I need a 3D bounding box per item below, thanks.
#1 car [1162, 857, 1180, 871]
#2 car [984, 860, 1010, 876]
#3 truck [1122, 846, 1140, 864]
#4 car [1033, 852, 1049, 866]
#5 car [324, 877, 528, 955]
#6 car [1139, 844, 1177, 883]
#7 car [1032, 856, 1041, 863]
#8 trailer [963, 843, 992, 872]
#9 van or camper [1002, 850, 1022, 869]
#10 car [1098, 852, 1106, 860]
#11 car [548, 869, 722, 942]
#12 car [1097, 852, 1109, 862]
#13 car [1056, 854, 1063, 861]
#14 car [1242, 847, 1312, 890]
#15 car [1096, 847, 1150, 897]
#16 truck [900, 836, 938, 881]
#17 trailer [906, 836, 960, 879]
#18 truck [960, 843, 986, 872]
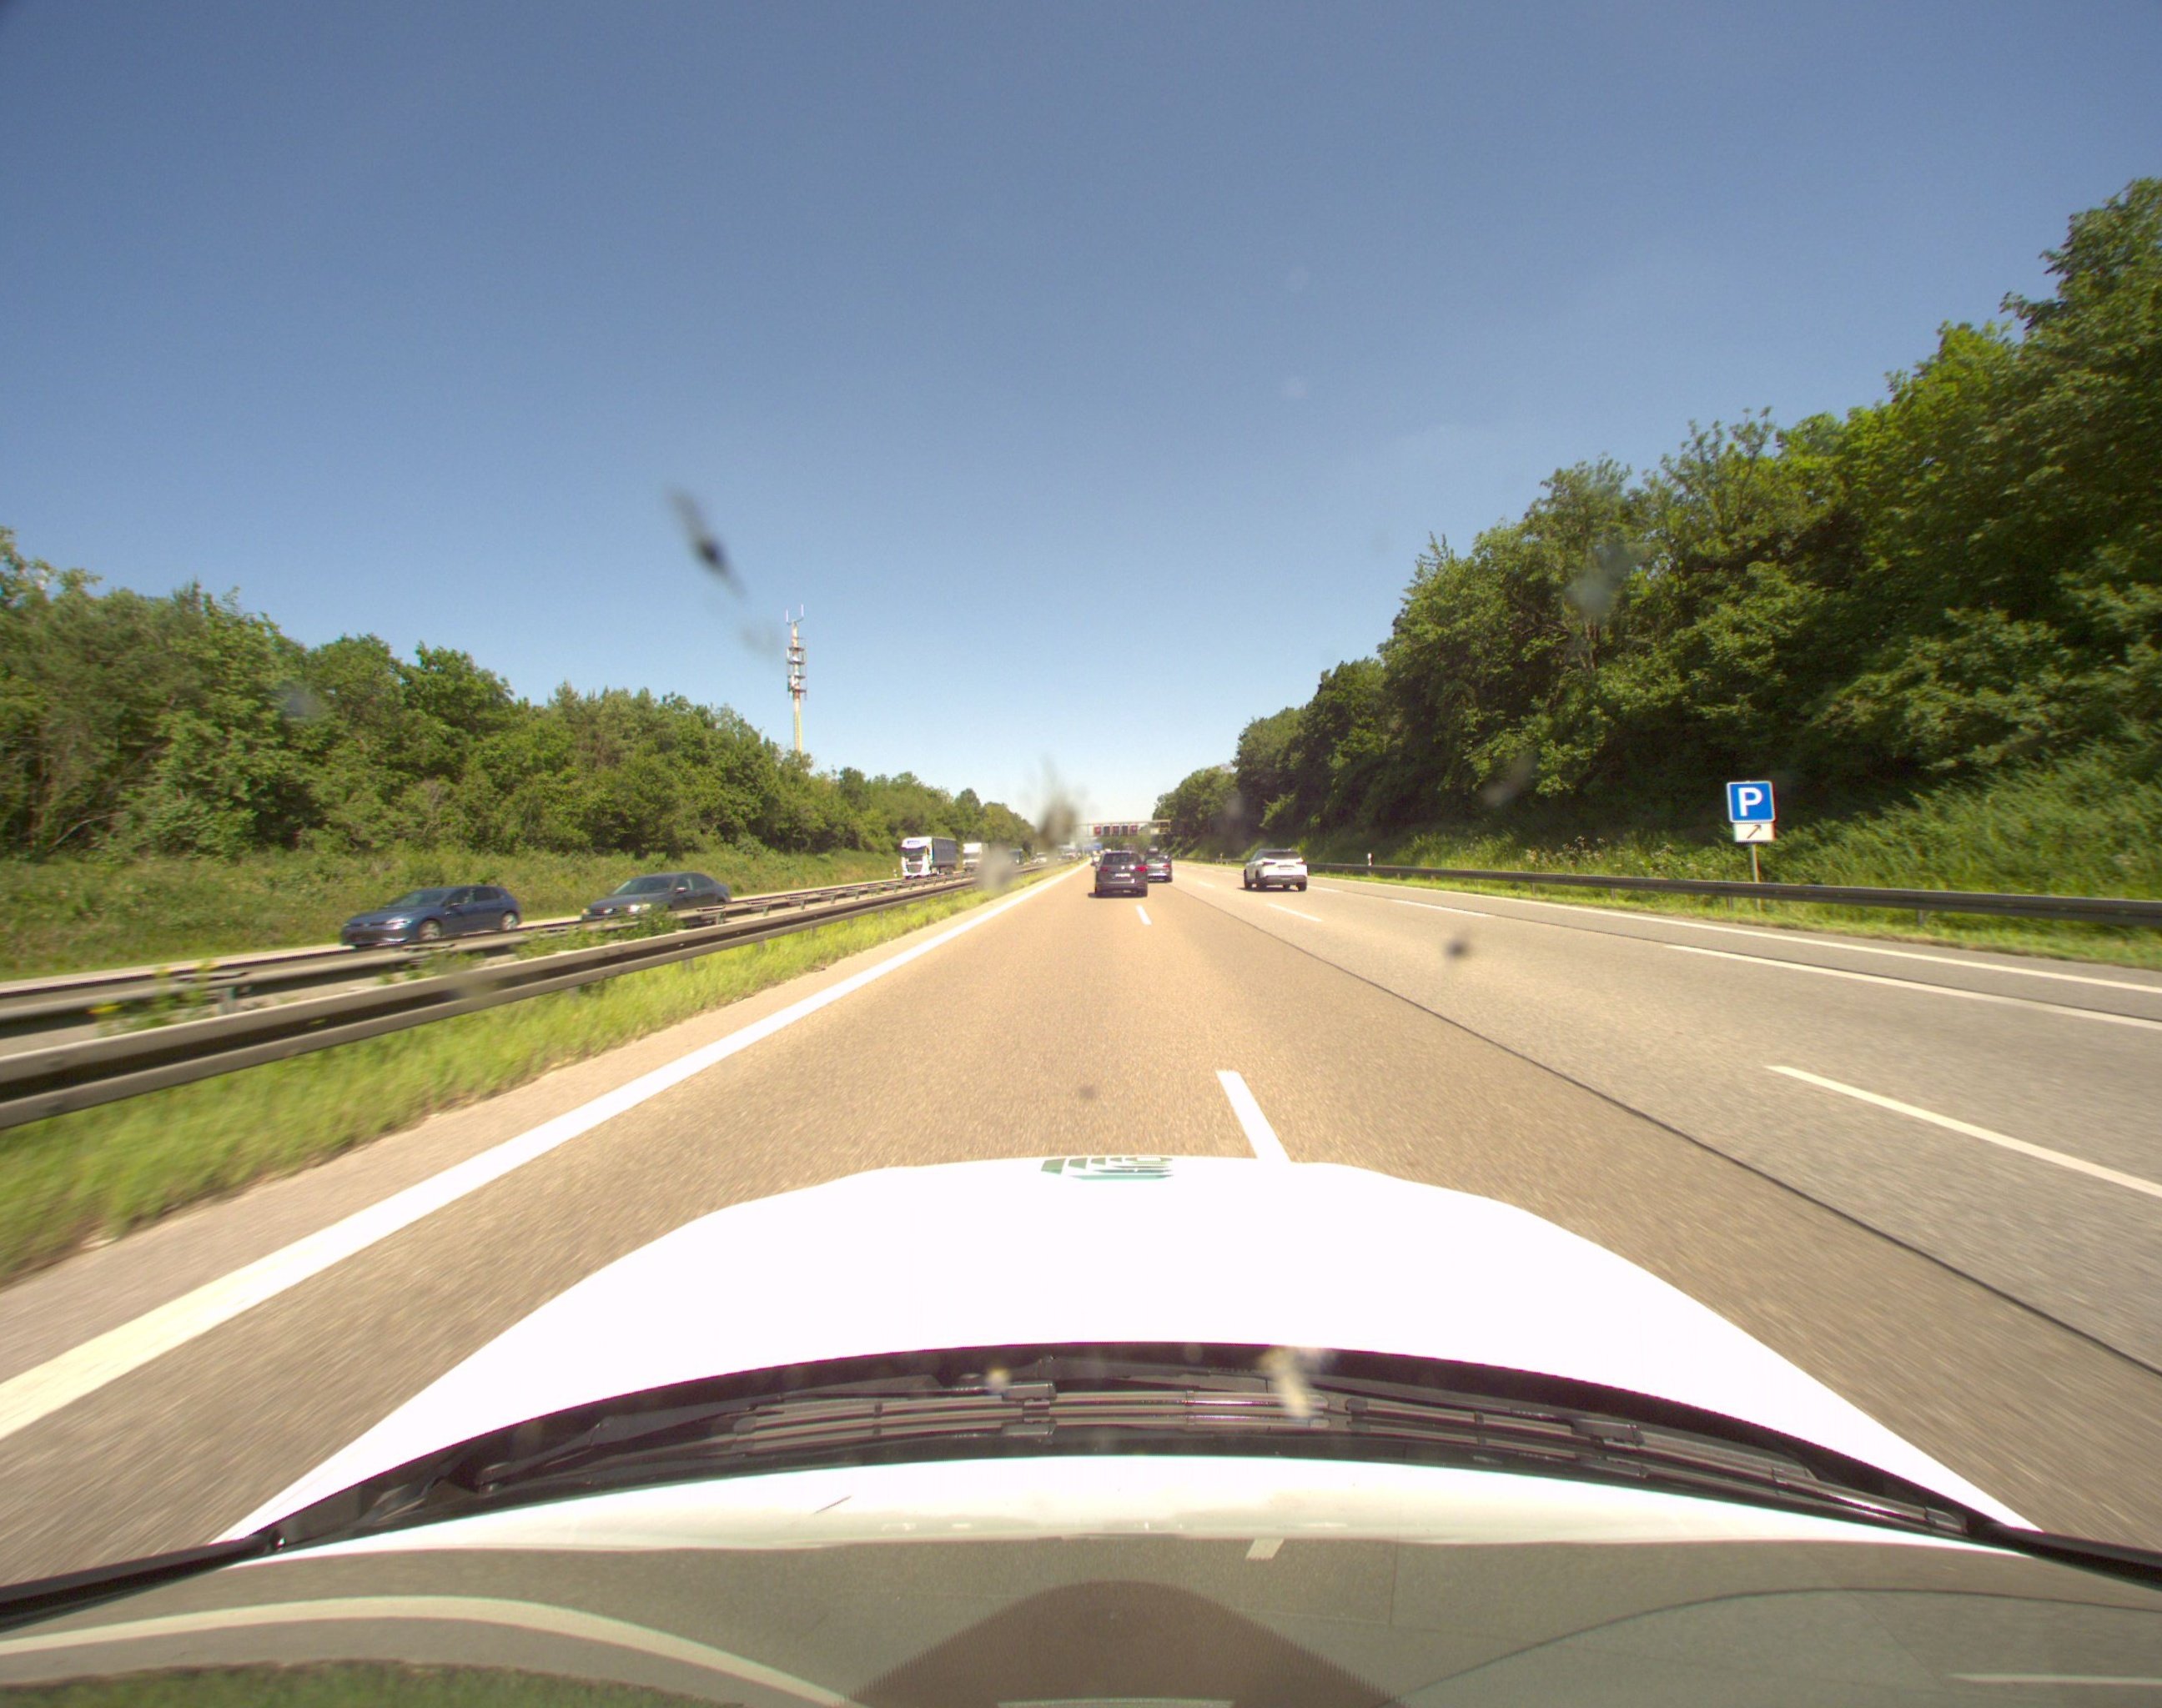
[{"bbox_3d":[10.217,1.080,92.552,1.757,1.568,4.261,0,0,3],"label":"car"},{"bbox_3d":[-8.126,1.293,78.865,1.800,1.405,4.820,-2,0,1],"label":"car"},{"bbox_3d":[12.569,0.223,207.365,3.767,4.422,14.049,-1,0,0],"label":"truck"},{"bbox_3d":[-6.489,0.793,132.641,1.921,1.981,5.236,-4,0,1],"label":"car"},{"bbox_3d":[-16.706,1.499,21.119,1.589,1.568,4.370,-4,0,1],"label":"car"},{"bbox_3d":[4.036,0.490,43.233,1.659,1.876,4.829,-2,0,2],"label":"car"},{"bbox_3d":[-9.199,1.096,168.283,1.669,1.496,3.545,-2,0,1],"label":"car"},{"bbox_3d":[-14.718,0.494,116.422,2.702,3.809,7.694,-4,0,1],"label":"trailer"},{"bbox_3d":[-11.080,0.795,130.522,2.189,2.811,6.801,-4,0,2],"label":"van or camper"},{"bbox_3d":[5.223,0.438,204.199,1.986,2.013,4.001,0,0,1],"label":"car"},{"bbox_3d":[-10.167,1.103,18.993,1.480,1.356,4.419,-2,0,1],"label":"car"},{"bbox_3d":[3.480,0.435,129.756,1.757,1.568,4.261,0,0,3],"label":"car"},{"bbox_3d":[-4.832,0.846,181.256,1.428,1.528,3.458,-2,0,1],"label":"car"},{"bbox_3d":[7.542,0.539,31.733,1.837,1.568,4.036,0,0,1],"label":"car"},{"bbox_3d":[1.512,0.617,29.419,1.792,1.669,4.261,0,0,3],"label":"car"},{"bbox_3d":[-15.872,0.433,80.037,2.605,4.058,4.001,-4,0,1],"label":"truck"},{"bbox_3d":[-15.687,0.382,87.621,2.605,4.058,14.173,-4,0,1],"label":"trailer"},{"bbox_3d":[-14.821,0.487,111.835,2.693,3.809,4.001,-4,0,1],"label":"truck"}]
